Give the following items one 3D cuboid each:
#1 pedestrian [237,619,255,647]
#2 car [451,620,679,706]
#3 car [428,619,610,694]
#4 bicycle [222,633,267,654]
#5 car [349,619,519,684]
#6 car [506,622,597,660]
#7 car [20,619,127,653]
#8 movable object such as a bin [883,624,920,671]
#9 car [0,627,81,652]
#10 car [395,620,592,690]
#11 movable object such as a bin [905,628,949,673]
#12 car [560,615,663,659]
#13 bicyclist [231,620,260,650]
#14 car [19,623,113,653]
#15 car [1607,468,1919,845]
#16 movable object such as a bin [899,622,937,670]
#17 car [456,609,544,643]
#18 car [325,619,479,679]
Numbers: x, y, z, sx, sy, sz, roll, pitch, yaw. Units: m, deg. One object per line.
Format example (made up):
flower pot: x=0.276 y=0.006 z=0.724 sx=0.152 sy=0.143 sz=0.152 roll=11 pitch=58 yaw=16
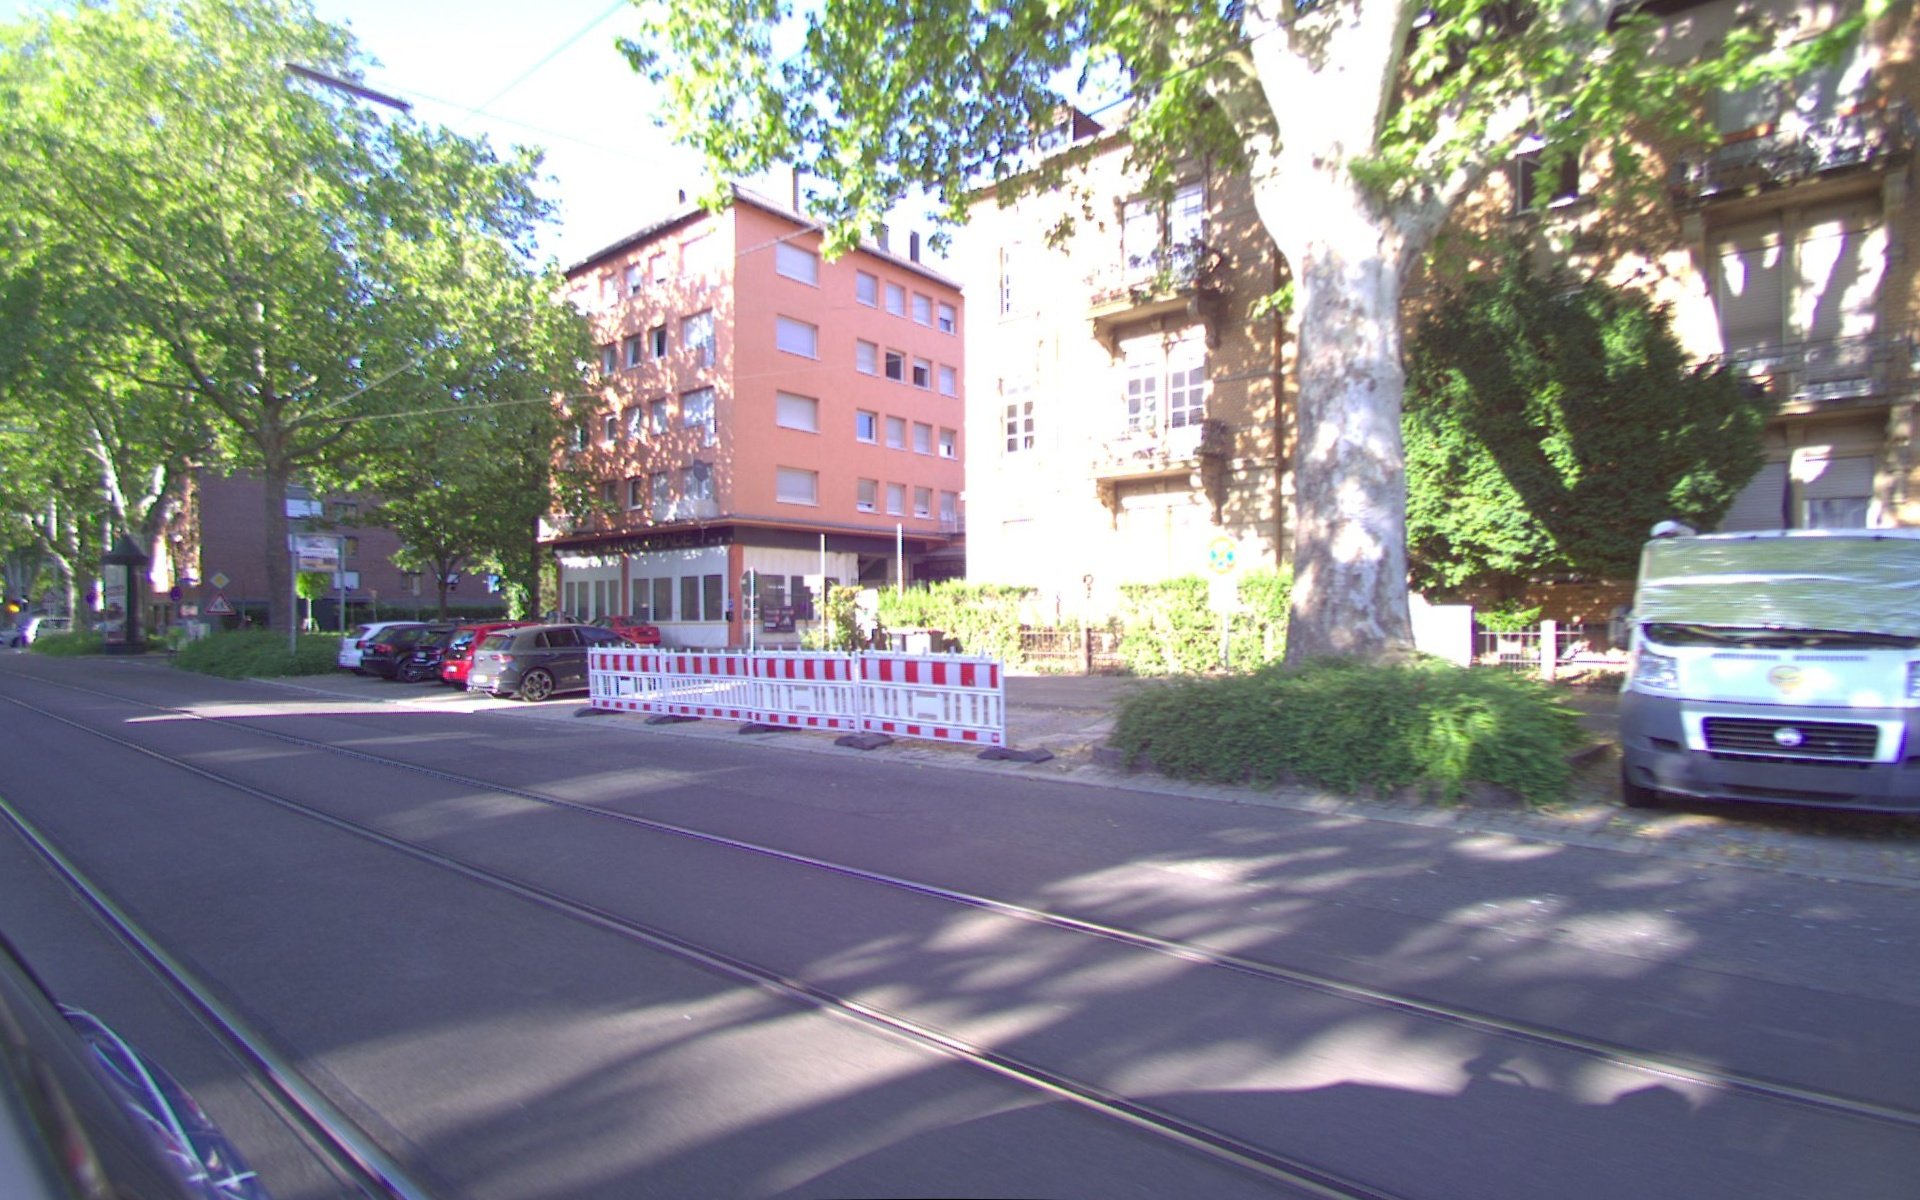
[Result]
pedestrian: x=-43.471 y=2.010 z=61.607 sx=0.779 sy=1.686 sz=0.702 roll=-1 pitch=0 yaw=41
car: x=-7.983 y=1.210 z=20.730 sx=1.853 sy=1.476 sz=3.946 roll=-1 pitch=0 yaw=40
car: x=-9.987 y=1.216 z=23.068 sx=1.759 sy=1.476 sz=3.382 roll=-1 pitch=0 yaw=43
bicycle: x=-36.905 y=2.248 z=52.181 sx=2.574 sy=1.006 sz=0.961 roll=-1 pitch=0 yaw=31
car: x=-13.656 y=1.286 z=26.388 sx=1.687 sy=1.476 sz=3.562 roll=-1 pitch=0 yaw=43
car: x=-16.733 y=1.651 z=41.379 sx=3.891 sy=1.418 sz=1.927 roll=-1 pitch=0 yaw=42
car: x=-52.935 y=2.095 z=60.498 sx=1.937 sy=1.848 sz=4.525 roll=-1 pitch=0 yaw=39
movable object such as a bin: x=-1.427 y=1.152 z=24.879 sx=0.543 sy=1.118 sz=0.716 roll=-1 pitch=0 yaw=42
car: x=-61.623 y=2.600 z=67.147 sx=1.953 sy=1.471 sz=4.717 roll=-1 pitch=0 yaw=39
car: x=-11.403 y=1.278 z=24.920 sx=1.821 sy=1.476 sz=4.038 roll=-1 pitch=0 yaw=43
movable object such as a bin: x=-0.777 y=1.175 z=23.793 sx=0.736 sy=1.030 sz=0.714 roll=-1 pitch=0 yaw=43
car: x=-13.041 y=1.349 z=37.808 sx=3.999 sy=1.498 sz=1.927 roll=-1 pitch=0 yaw=42
bicyclist: x=-36.781 y=1.799 z=52.100 sx=1.113 sy=1.518 sz=0.794 roll=-1 pitch=0 yaw=31
car: x=-55.190 y=2.316 z=62.530 sx=1.900 sy=1.659 sz=4.098 roll=-1 pitch=0 yaw=39
car: x=6.891 y=0.327 z=8.429 sx=2.082 sy=2.276 sz=4.986 roll=-1 pitch=0 yaw=38
movable object such as a bin: x=-1.018 y=1.105 z=24.503 sx=0.560 sy=1.118 sz=0.715 roll=-1 pitch=0 yaw=42
car: x=-21.412 y=1.219 z=47.104 sx=3.986 sy=1.504 sz=1.799 roll=-1 pitch=0 yaw=31
car: x=-15.508 y=1.320 z=28.214 sx=1.697 sy=1.476 sz=3.382 roll=-1 pitch=0 yaw=43
